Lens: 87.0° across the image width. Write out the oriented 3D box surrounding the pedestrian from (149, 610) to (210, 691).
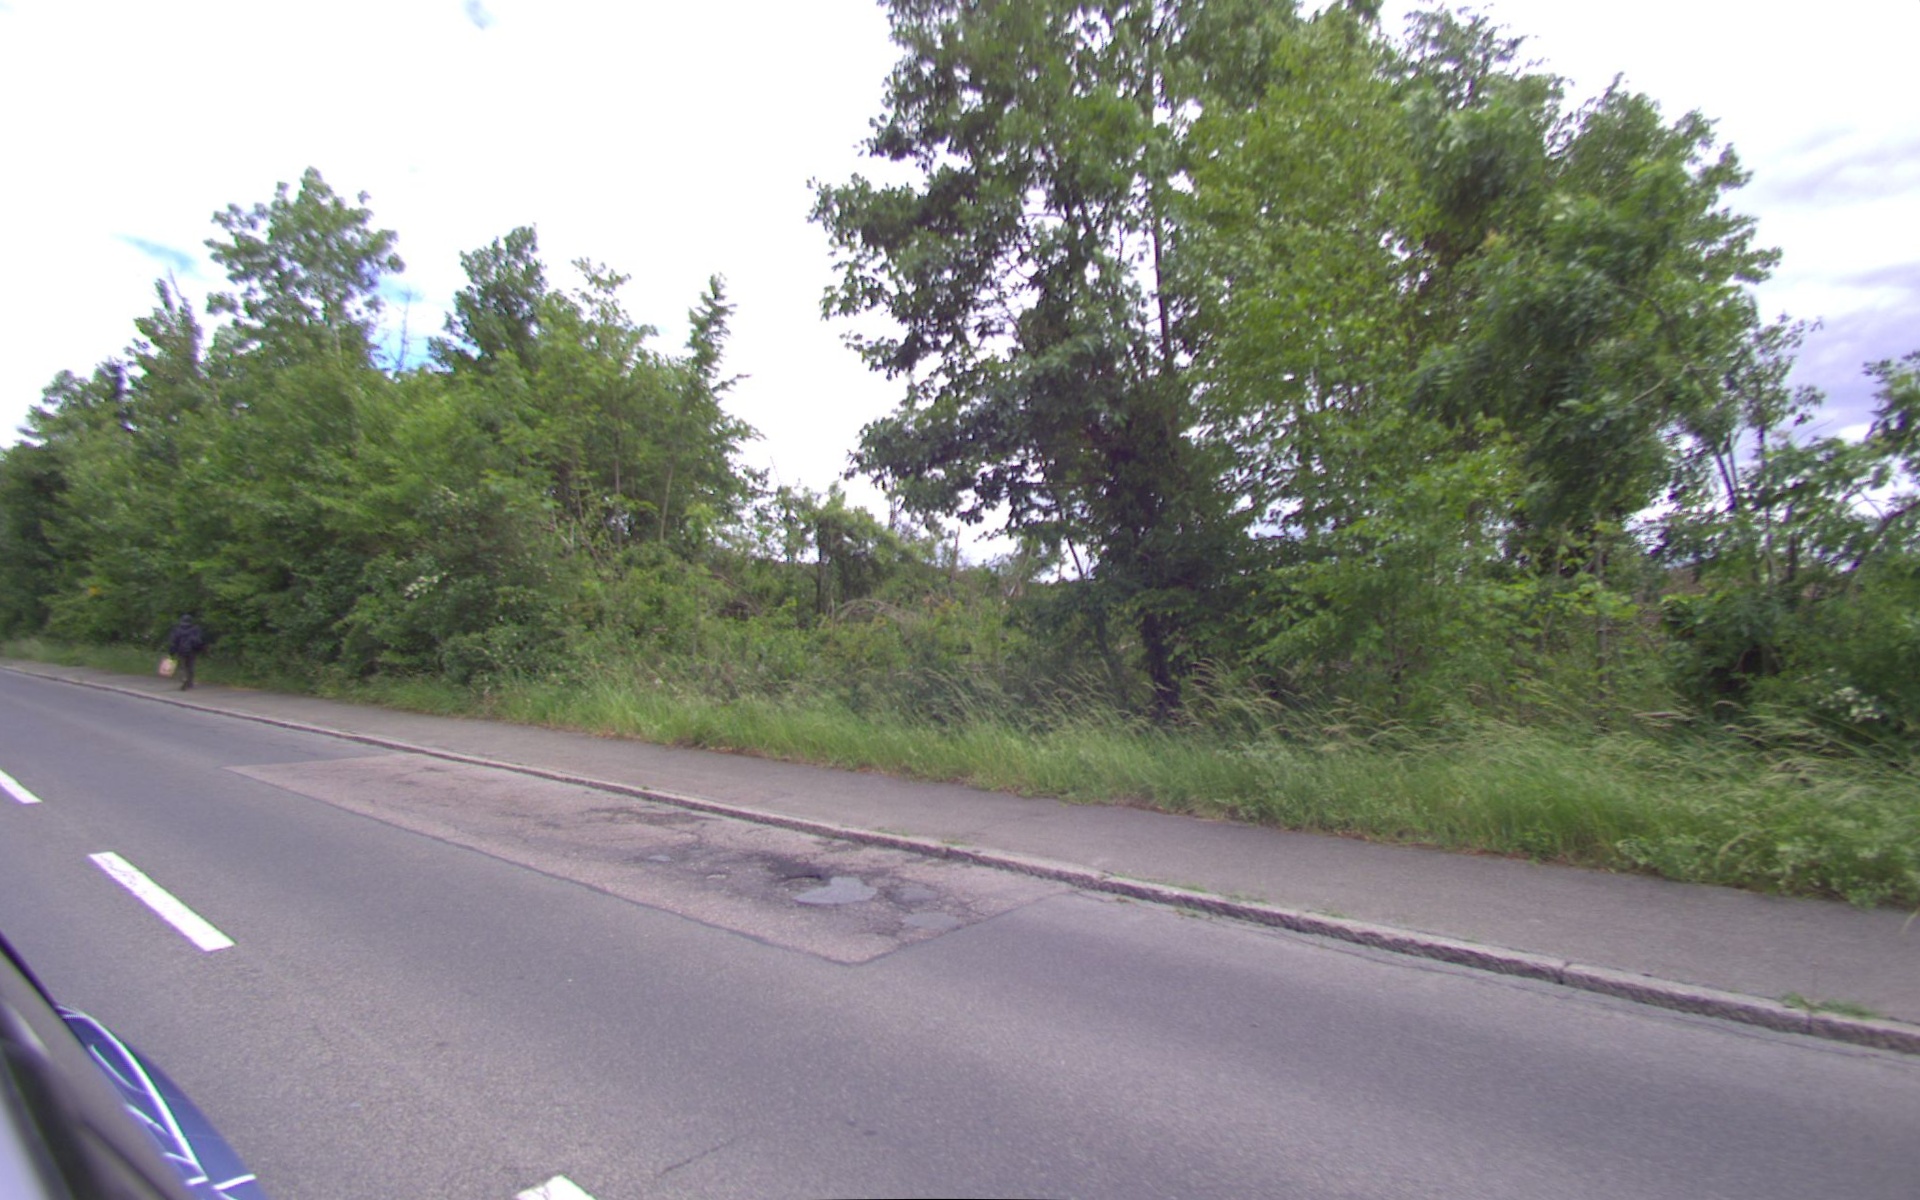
[{"bbox_3d":[-17.570,1.128,22.780,0.788,1.783,0.860,-2,-3,36],"label":"pedestrian"}]
